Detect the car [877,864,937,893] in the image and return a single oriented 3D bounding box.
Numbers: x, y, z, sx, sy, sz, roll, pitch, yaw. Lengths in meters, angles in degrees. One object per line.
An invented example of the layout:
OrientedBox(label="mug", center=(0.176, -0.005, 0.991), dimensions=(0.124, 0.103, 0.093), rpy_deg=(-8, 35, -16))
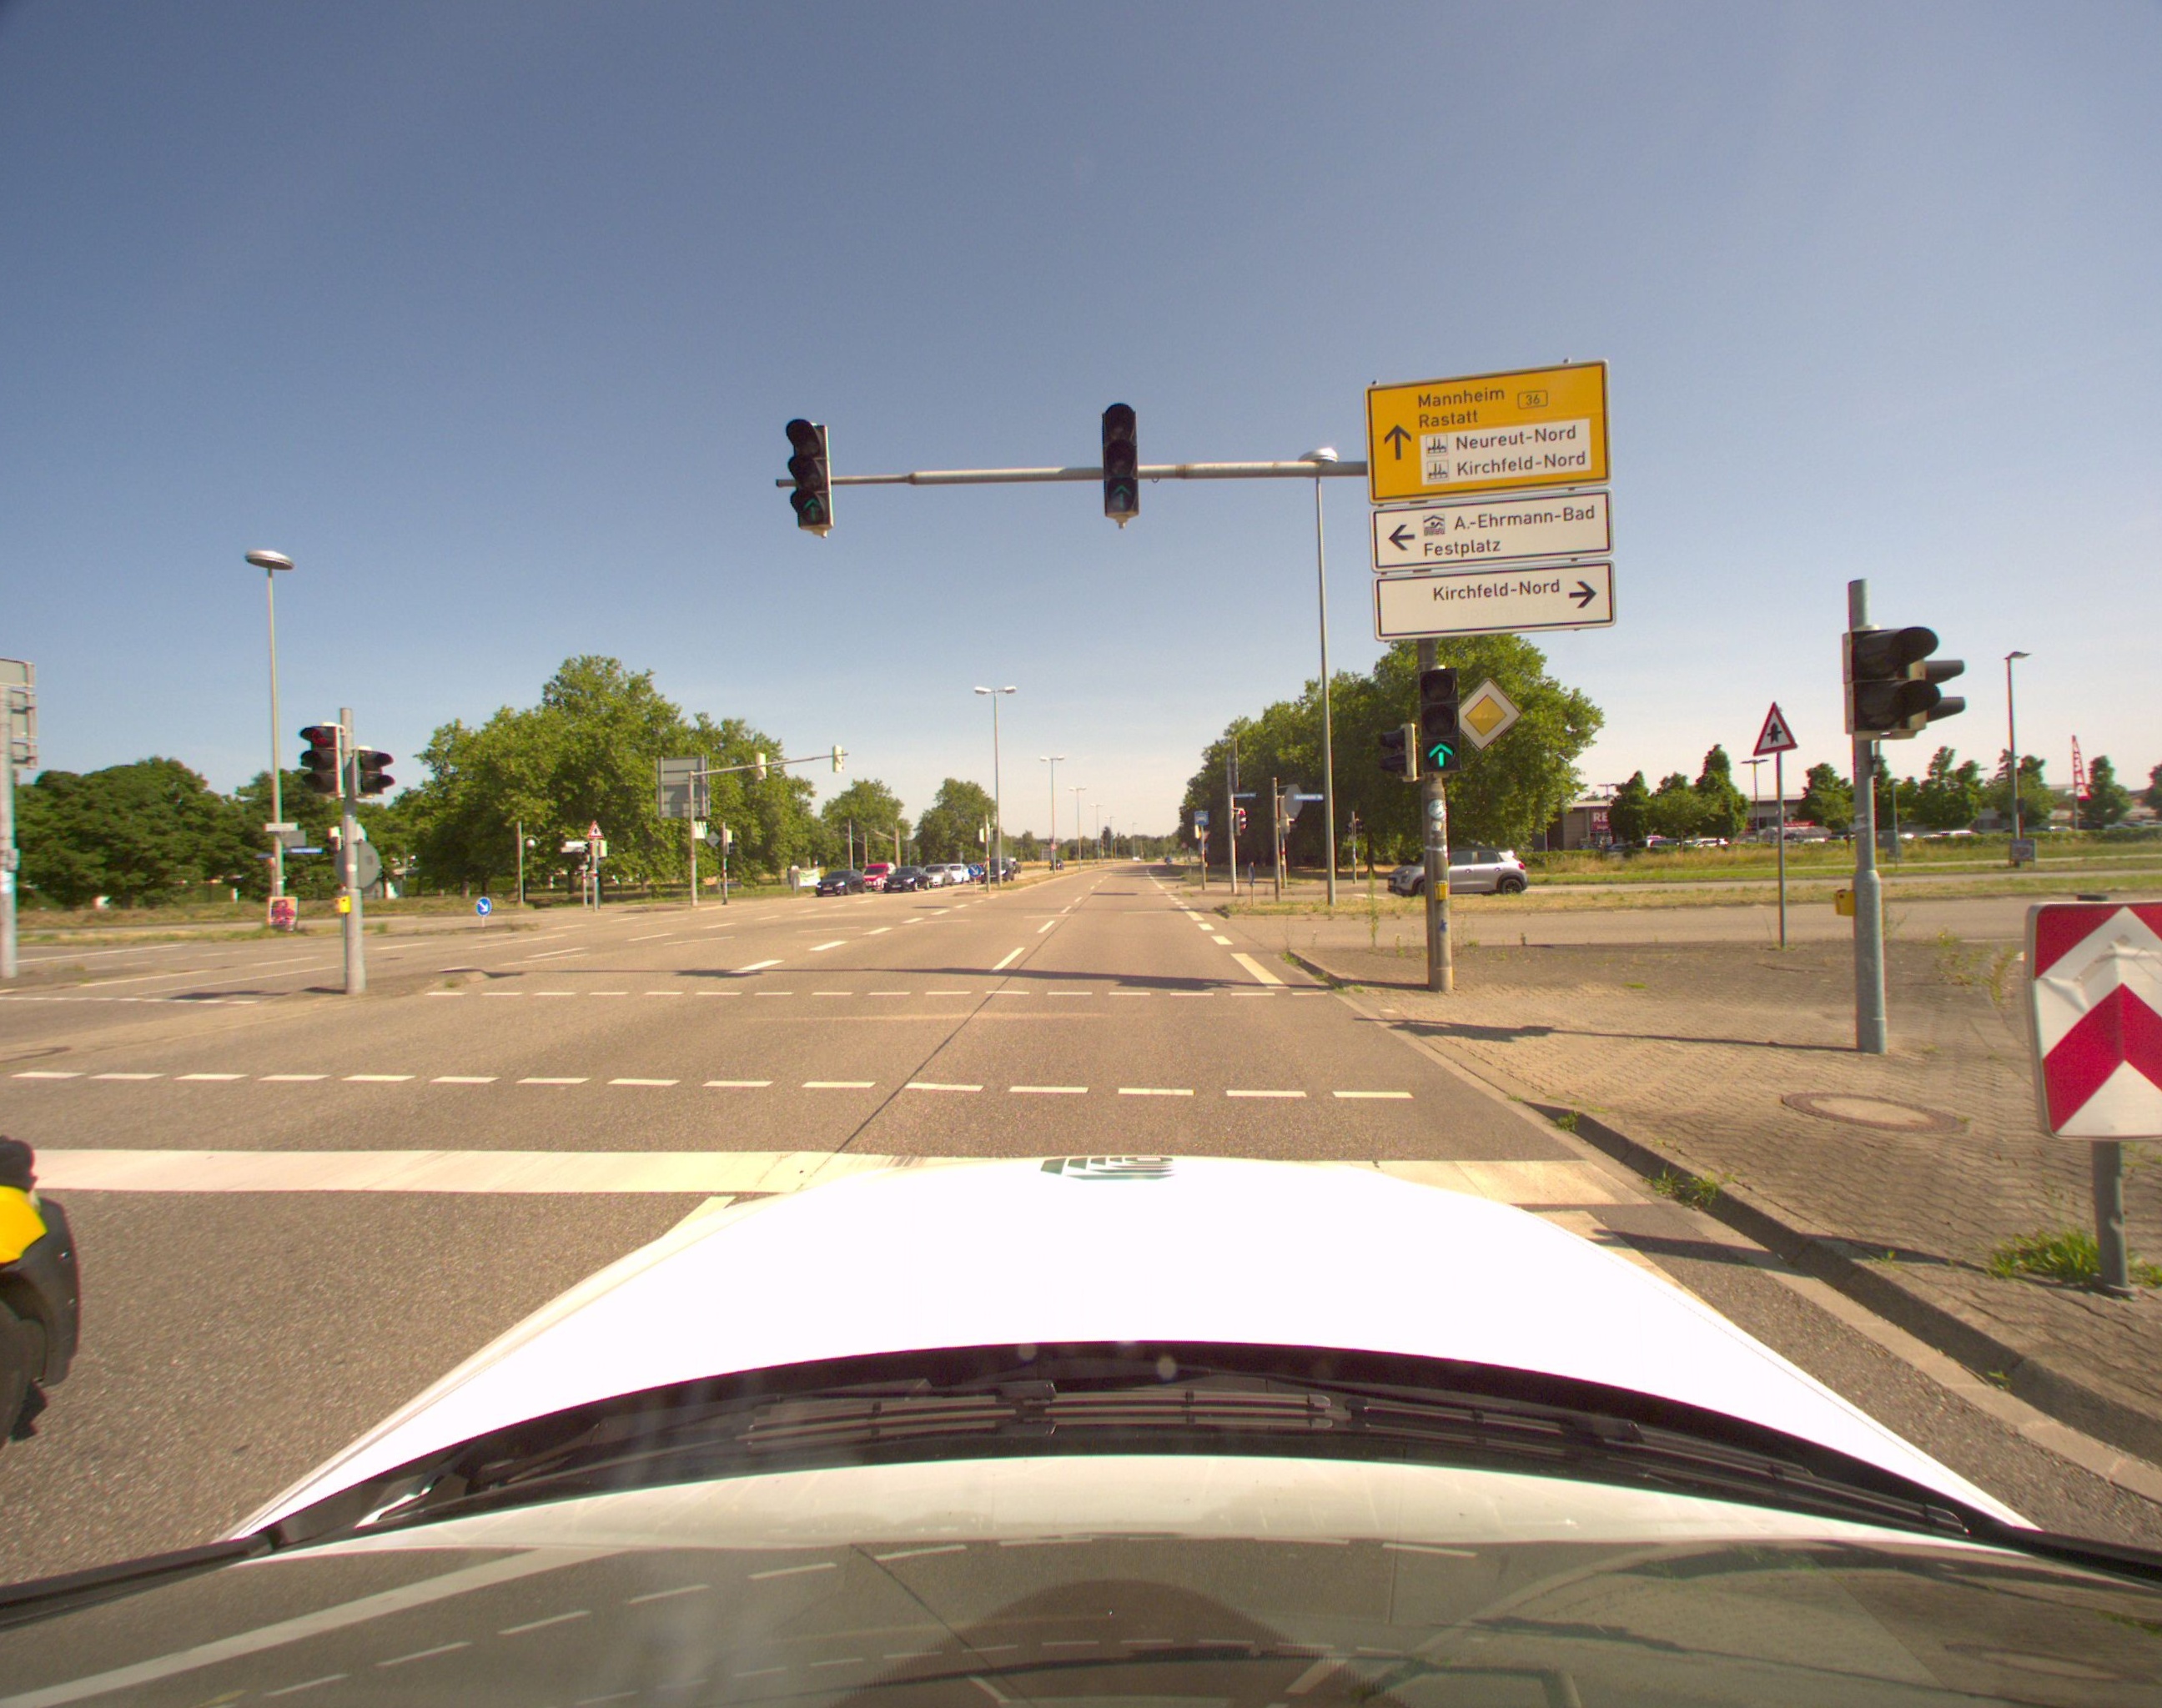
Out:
OrientedBox(label="car", center=(-9.659, 1.316, 45.566), dimensions=(1.971, 1.457, 4.339), rpy_deg=(-2, 0, 6))

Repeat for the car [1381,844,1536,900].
OrientedBox(label="car", center=(11.842, 0.558, 25.743), dimensions=(4.035, 1.564, 1.744), rpy_deg=(-2, -1, 2))

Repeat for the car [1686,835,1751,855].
OrientedBox(label="car", center=(60.750, -0.812, 77.719), dimensions=(4.467, 1.750, 1.992), rpy_deg=(-2, -1, 8))

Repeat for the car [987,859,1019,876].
OrientedBox(label="car", center=(-6.964, 1.202, 73.047), dimensions=(1.971, 1.457, 4.457), rpy_deg=(-2, 0, 6))

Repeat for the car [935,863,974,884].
OrientedBox(label="car", center=(-9.188, 1.413, 59.318), dimensions=(1.819, 1.386, 3.849), rpy_deg=(-2, 0, 6))

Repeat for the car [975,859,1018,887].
OrientedBox(label="car", center=(-5.611, 1.242, 54.620), dimensions=(1.971, 1.750, 4.515), rpy_deg=(-2, 0, 6))

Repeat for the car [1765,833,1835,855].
OrientedBox(label="car", center=(61.106, -0.833, 69.270), dimensions=(3.961, 1.728, 2.006), rpy_deg=(-2, -1, 11))

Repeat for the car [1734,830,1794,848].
OrientedBox(label="car", center=(72.915, -1.568, 86.979), dimensions=(4.460, 1.750, 1.995), rpy_deg=(-2, -1, 14))

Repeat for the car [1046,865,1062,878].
OrientedBox(label="car", center=(-4.079, 2.596, 123.742), dimensions=(1.972, 1.779, 4.495), rpy_deg=(-2, 0, 5))

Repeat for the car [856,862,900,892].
OrientedBox(label="car", center=(-12.911, 1.421, 52.056), dimensions=(1.699, 1.770, 4.228), rpy_deg=(-3, 0, 0))

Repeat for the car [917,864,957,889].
OrientedBox(label="car", center=(-9.266, 1.430, 52.672), dimensions=(1.612, 1.457, 3.874), rpy_deg=(-2, 0, 3))

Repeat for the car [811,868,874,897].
OrientedBox(label="car", center=(-13.412, 1.585, 46.036), dimensions=(1.876, 1.457, 4.236), rpy_deg=(-2, 0, 6))

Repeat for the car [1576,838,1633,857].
OrientedBox(label="car", center=(54.000, -0.667, 84.044), dimensions=(4.467, 1.750, 1.992), rpy_deg=(-2, -1, 8))

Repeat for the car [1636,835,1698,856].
OrientedBox(label="car", center=(51.774, -0.750, 72.014), dimensions=(3.961, 1.728, 2.006), rpy_deg=(-2, -1, 11))
